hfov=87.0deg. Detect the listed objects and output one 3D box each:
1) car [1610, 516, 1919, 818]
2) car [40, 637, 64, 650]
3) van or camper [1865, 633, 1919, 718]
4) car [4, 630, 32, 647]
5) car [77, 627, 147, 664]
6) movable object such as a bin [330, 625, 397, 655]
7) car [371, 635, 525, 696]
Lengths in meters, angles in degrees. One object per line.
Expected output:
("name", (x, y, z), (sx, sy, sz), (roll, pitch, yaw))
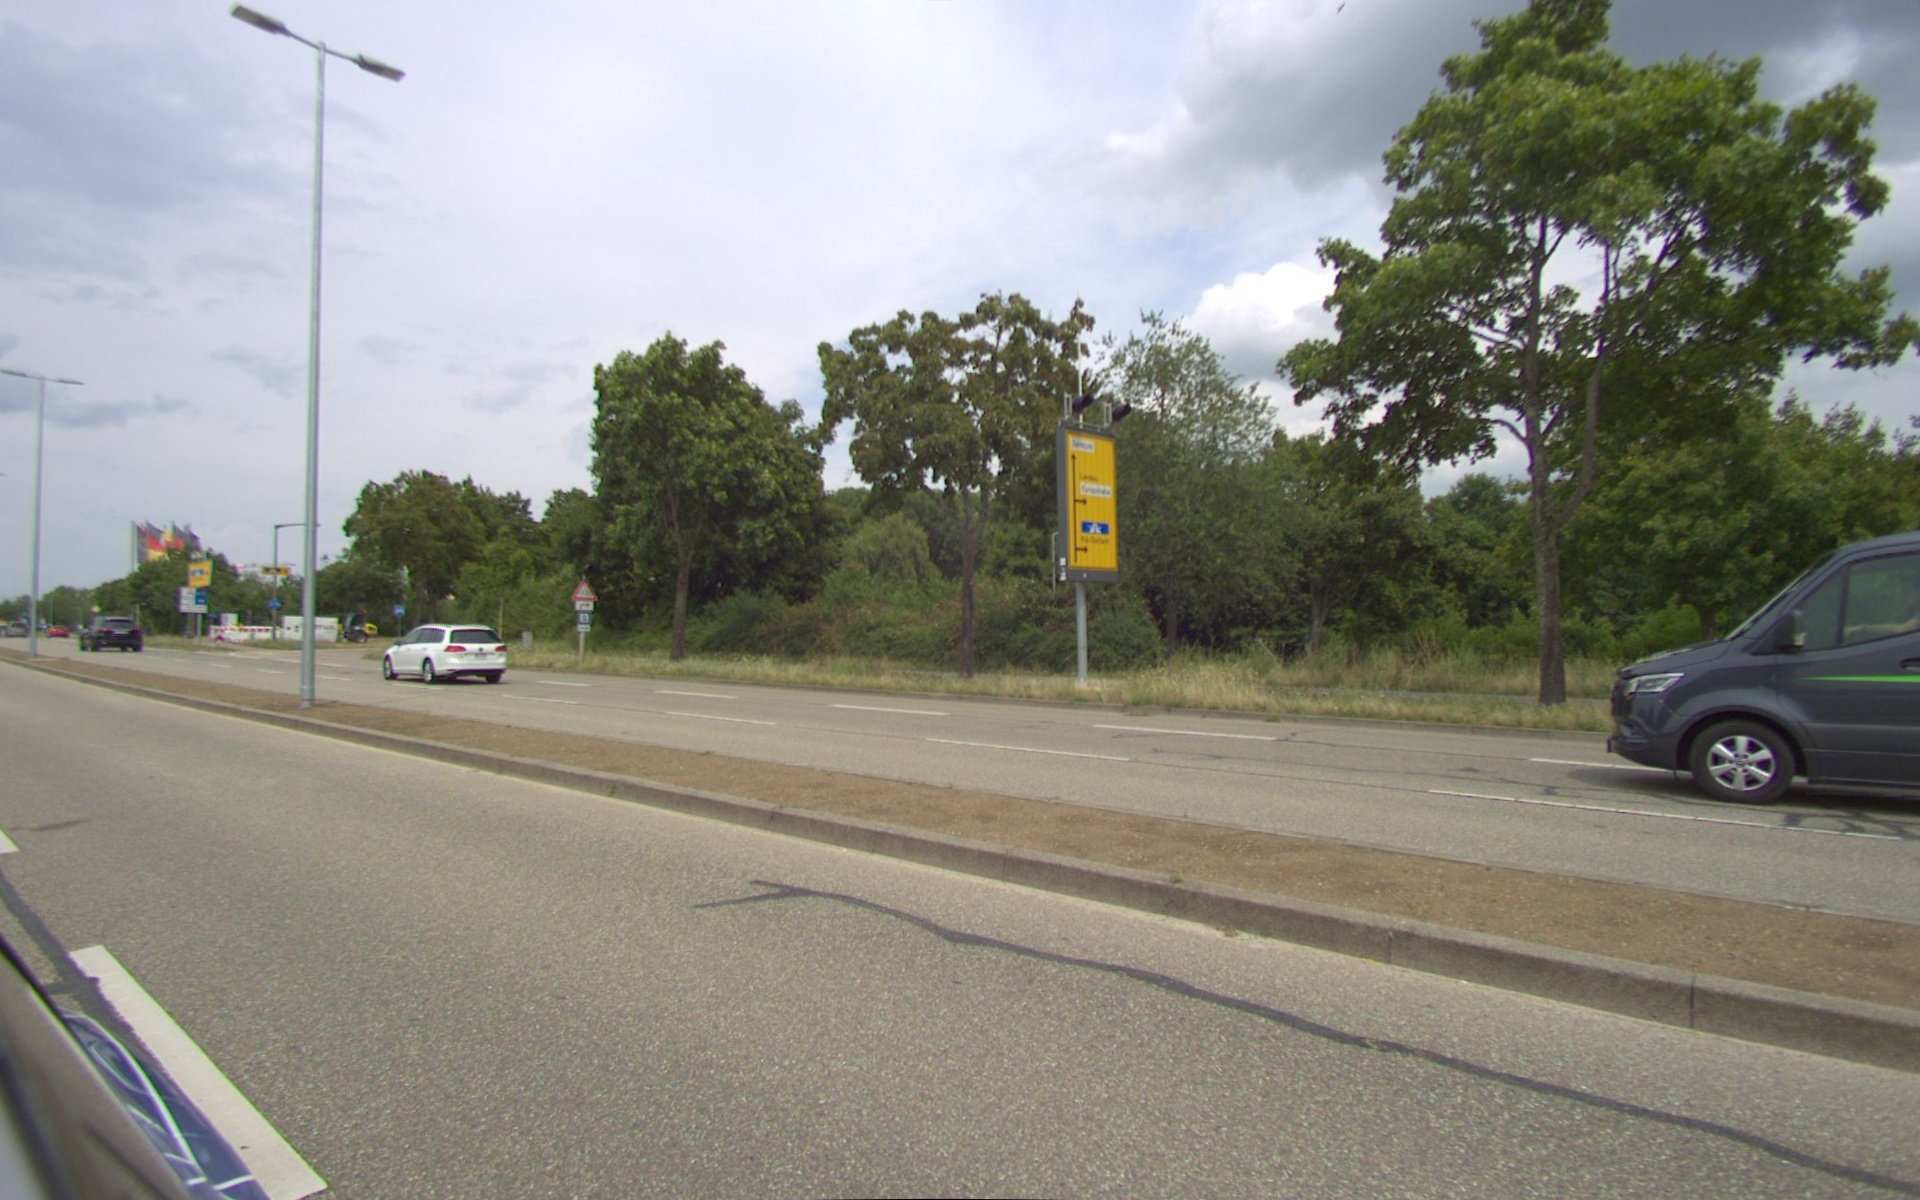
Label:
("car", (8.557, 0.489, 7.548), (5.998, 2.218, 2.074), (-3, -4, 40))
("car", (-102.198, 4.871, 113.850), (4.347, 1.332, 1.734), (-4, -3, 44))
("van or camper", (26.434, 2.007, 27.632), (4.300, 2.029, 2.003), (-2, 0, -41))
("car", (-105.651, 4.303, 113.502), (4.537, 1.823, 1.882), (-4, -3, 42))
("car", (-43.769, 2.359, 52.210), (4.794, 1.825, 1.973), (-3, -4, 40))
("movable object such as a bin", (-51.406, 3.430, 87.273), (1.993, 2.415, 4.543), (-3, -3, 31))
("car", (-13.262, 1.650, 26.071), (4.686, 1.442, 1.972), (-3, -4, 42))
